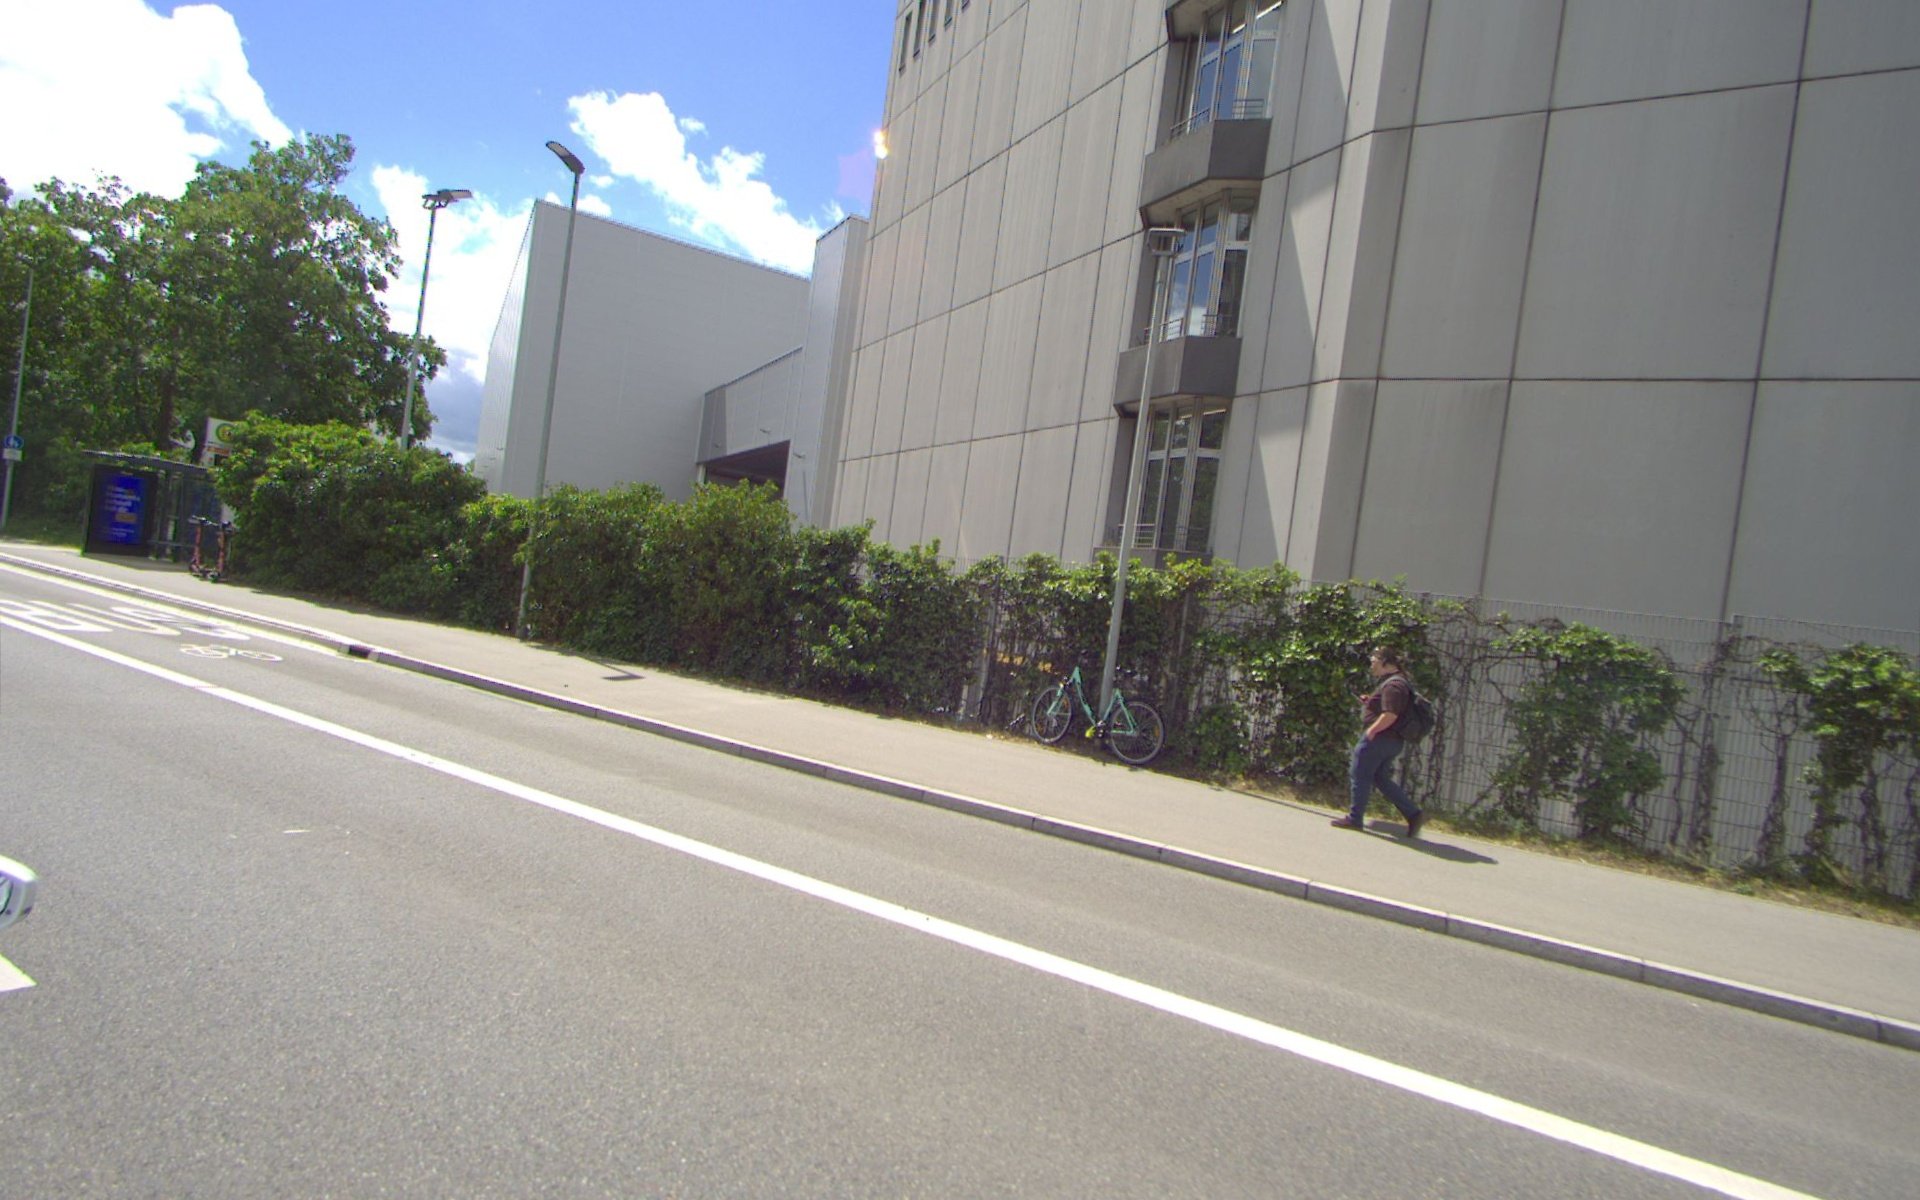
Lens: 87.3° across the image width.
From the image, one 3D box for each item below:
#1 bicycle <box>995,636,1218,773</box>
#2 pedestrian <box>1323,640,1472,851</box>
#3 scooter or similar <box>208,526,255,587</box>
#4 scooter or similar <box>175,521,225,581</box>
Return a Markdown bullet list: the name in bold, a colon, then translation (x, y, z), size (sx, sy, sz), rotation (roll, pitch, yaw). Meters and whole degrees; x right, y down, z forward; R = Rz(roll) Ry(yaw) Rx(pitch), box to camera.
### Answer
- **bicycle**: translation (1.626, 1.160, 11.521), size (2.428, 1.193, 0.444), rotation (6, -1, 32)
- **pedestrian**: translation (3.927, 1.252, 9.014), size (0.981, 1.666, 0.810), rotation (7, 1, 30)
- **scooter or similar**: translation (-15.343, -0.932, 21.208), size (0.537, 1.177, 1.777), rotation (6, 1, -30)
- **scooter or similar**: translation (-16.483, -1.078, 21.852), size (0.537, 1.177, 2.110), rotation (6, 1, -30)
